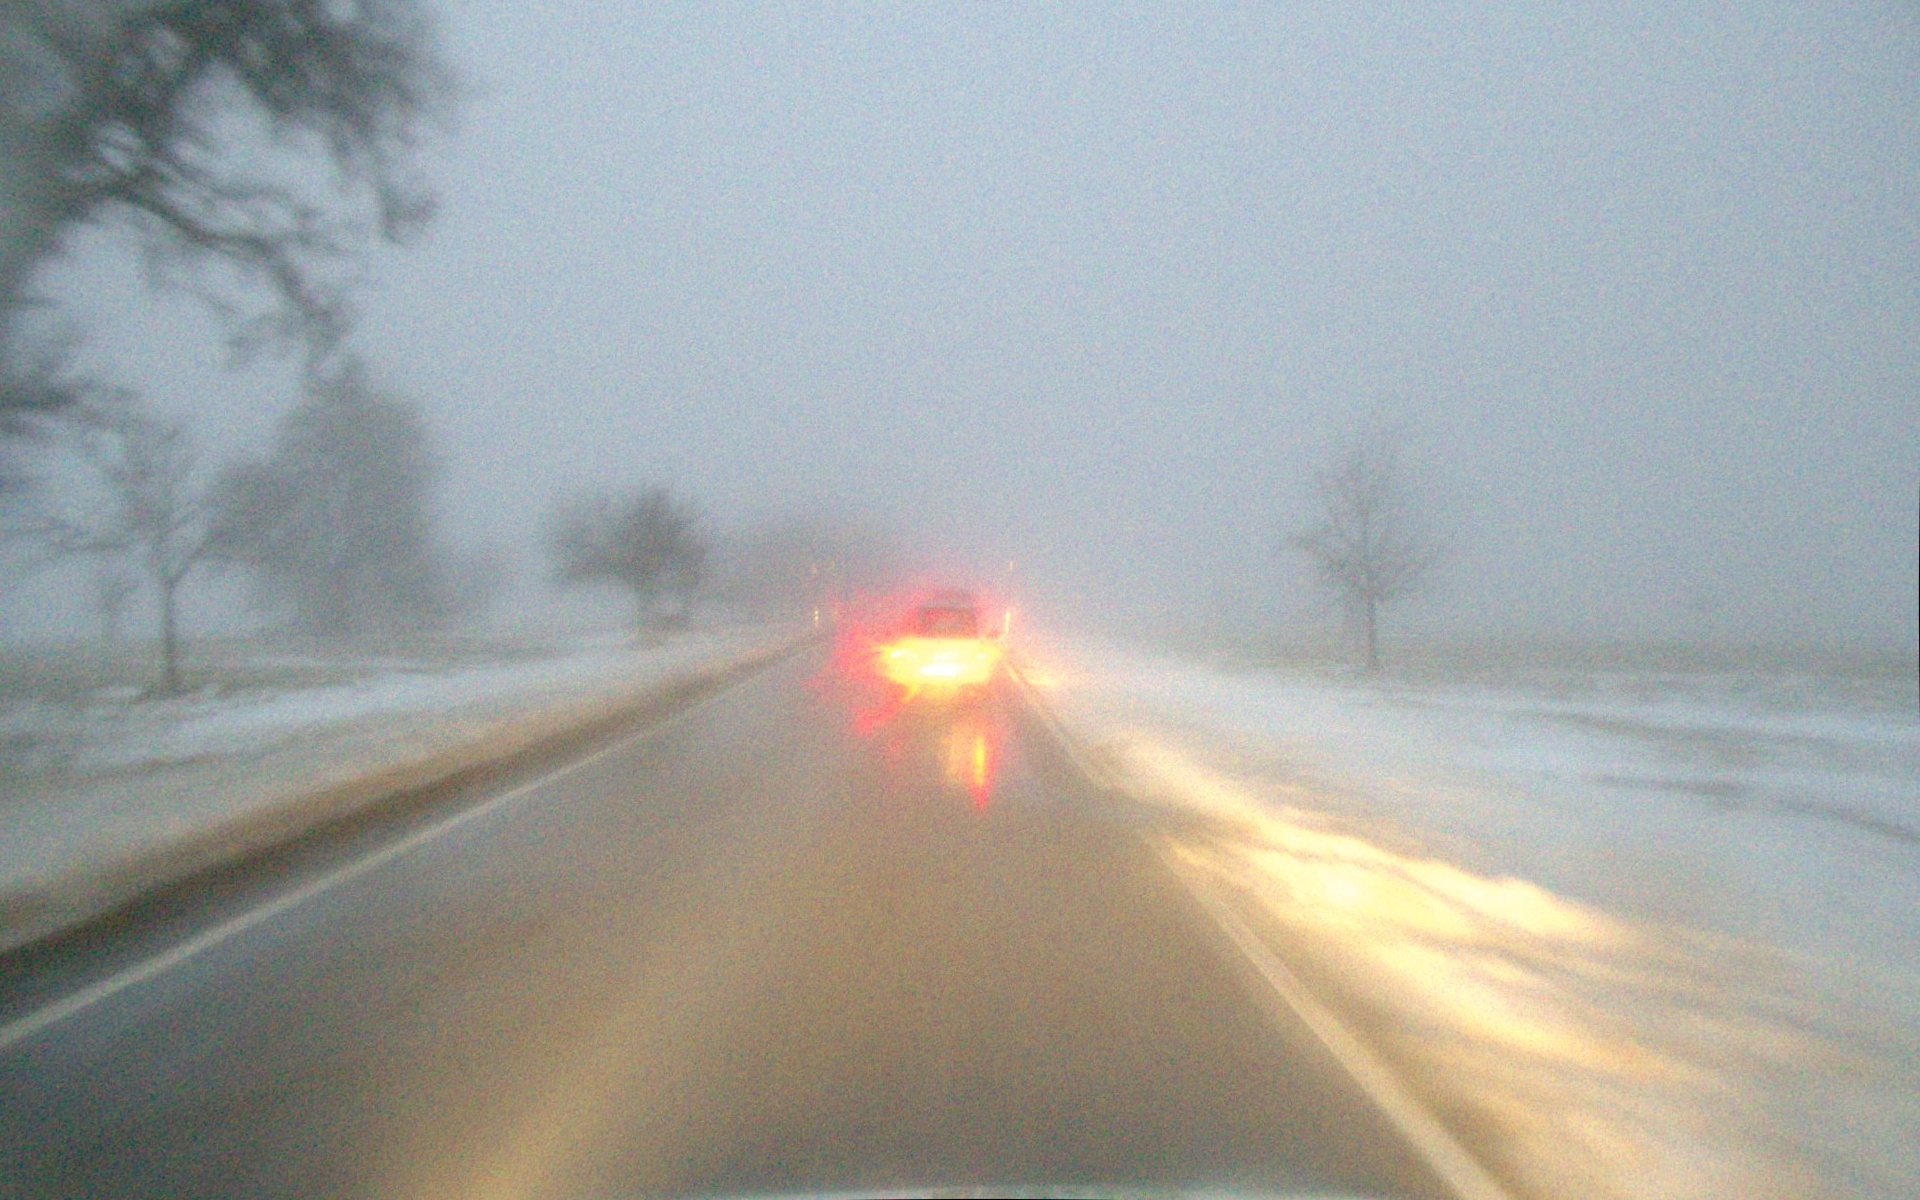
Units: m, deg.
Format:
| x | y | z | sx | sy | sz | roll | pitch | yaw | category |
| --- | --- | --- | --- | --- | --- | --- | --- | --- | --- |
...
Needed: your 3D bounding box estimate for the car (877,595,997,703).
| x | y | z | sx | sy | sz | roll | pitch | yaw | category |
| --- | --- | --- | --- | --- | --- | --- | --- | --- | --- |
| -0.414 | 0.713 | 25.585 | 1.673 | 1.489 | 3.998 | 2 | 0 | -3 | car |
